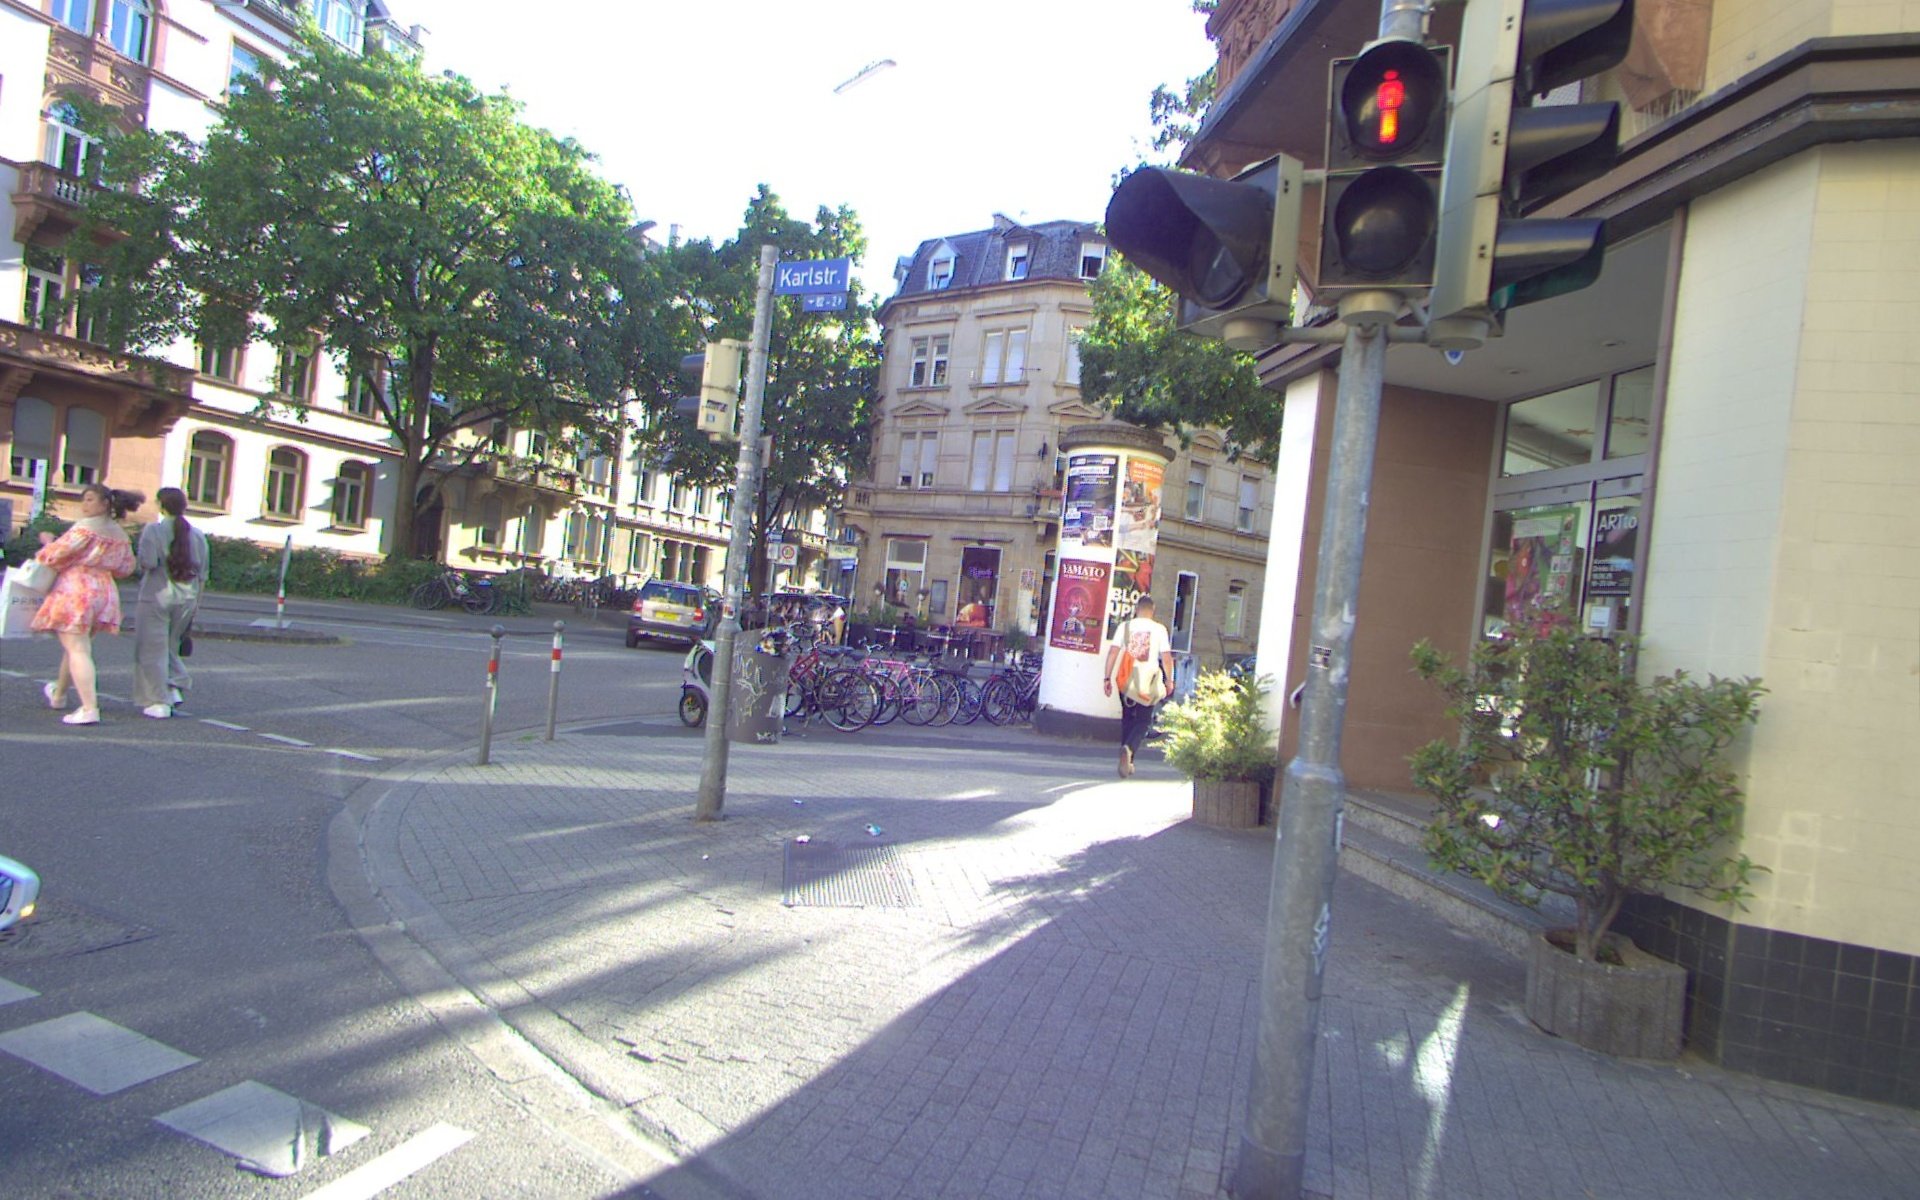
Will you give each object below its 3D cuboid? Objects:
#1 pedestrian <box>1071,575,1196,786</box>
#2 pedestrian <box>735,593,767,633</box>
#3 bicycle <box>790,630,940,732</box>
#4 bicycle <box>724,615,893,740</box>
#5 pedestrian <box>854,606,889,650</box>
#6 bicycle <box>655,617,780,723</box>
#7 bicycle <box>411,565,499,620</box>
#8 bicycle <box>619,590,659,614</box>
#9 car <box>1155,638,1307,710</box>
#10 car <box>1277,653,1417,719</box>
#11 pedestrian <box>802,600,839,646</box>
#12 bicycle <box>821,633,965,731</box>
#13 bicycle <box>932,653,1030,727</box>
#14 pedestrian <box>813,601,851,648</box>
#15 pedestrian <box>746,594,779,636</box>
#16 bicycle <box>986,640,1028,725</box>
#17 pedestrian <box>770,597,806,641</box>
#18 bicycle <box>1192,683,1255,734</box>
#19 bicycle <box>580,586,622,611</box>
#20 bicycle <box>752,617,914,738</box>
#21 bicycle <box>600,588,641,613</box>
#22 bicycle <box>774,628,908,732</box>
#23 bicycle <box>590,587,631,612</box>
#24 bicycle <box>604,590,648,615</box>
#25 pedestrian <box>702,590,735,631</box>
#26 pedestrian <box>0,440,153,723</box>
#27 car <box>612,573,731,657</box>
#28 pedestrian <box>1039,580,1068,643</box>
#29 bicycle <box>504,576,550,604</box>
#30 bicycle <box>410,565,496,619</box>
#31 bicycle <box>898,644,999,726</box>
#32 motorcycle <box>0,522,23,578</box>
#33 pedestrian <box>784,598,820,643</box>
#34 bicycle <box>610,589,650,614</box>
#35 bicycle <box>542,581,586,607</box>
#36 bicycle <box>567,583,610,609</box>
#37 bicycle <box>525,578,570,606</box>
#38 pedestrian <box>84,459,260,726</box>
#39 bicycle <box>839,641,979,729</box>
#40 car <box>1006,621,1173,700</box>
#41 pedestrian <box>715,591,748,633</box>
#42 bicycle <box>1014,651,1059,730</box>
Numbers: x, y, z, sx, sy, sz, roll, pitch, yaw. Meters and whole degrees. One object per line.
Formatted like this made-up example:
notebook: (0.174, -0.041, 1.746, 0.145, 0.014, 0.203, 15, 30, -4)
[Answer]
pedestrian: (1.679, 0.710, 9.619, 0.793, 1.825, 1.089, 7, 4, 21)
pedestrian: (-7.864, 0.489, 37.860, 0.906, 1.448, 0.758, 2, 3, -37)
bicycle: (-1.255, 1.037, 13.148, 1.886, 1.112, 0.450, 5, 0, 24)
bicycle: (-1.774, 0.873, 11.699, 1.886, 1.238, 0.505, 5, 0, 24)
pedestrian: (-3.079, 0.969, 34.826, 0.758, 1.448, 0.905, 2, 3, -39)
bicycle: (-2.719, 0.779, 11.297, 1.045, 1.057, 0.779, 4, -1, 30)
bicycle: (-12.716, -0.181, 25.360, 1.846, 1.176, 0.554, 7, 1, -33)
bicycle: (-14.668, 0.108, 45.955, 1.765, 0.904, 0.493, 6, 0, 23)
car: (7.760, 2.109, 28.781, 3.953, 1.593, 1.791, 7, -1, -28)
car: (12.060, 2.672, 31.317, 3.953, 1.593, 1.791, 7, -1, -28)
pedestrian: (-4.632, 0.755, 33.419, 0.906, 1.448, 0.758, 2, 3, -37)
bicycle: (-0.922, 1.088, 13.646, 1.886, 1.112, 0.450, 5, 0, 24)
bicycle: (0.314, 1.348, 15.204, 1.382, 0.961, 0.449, 4, -1, 32)
pedestrian: (-4.172, 0.787, 32.775, 0.906, 1.448, 0.758, 2, 3, -36)
pedestrian: (-7.243, 0.546, 36.895, 0.906, 1.448, 0.758, 2, 3, -36)
bicycle: (0.734, 1.278, 15.982, 0.442, 1.238, 1.404, 5, -1, -3)
pedestrian: (-6.002, 0.651, 35.075, 0.906, 1.448, 0.758, 2, 3, -37)
bicycle: (4.489, 1.832, 17.130, 1.126, 0.768, 0.394, 1, 3, -37)
bicycle: (-15.564, -0.059, 43.575, 1.765, 0.904, 0.493, 6, 0, 23)
bicycle: (-1.551, 0.911, 12.157, 1.886, 1.238, 0.450, 5, 0, 24)
bicycle: (-15.131, 0.025, 44.856, 1.765, 0.904, 0.493, 6, 0, 23)
bicycle: (-1.508, 0.989, 12.696, 1.582, 1.125, 0.450, 5, 0, 24)
bicycle: (-15.355, -0.019, 44.219, 1.765, 0.904, 0.493, 6, 0, 23)
bicycle: (-14.356, 0.106, 43.286, 0.485, 0.904, 1.792, 6, -1, 35)
pedestrian: (-8.903, 0.388, 37.127, 0.906, 1.448, 0.758, 2, 3, -37)
pedestrian: (-6.476, -0.119, 7.090, 0.749, 1.819, 0.807, 7, -4, 35)
car: (-6.924, 0.371, 24.583, 1.965, 1.637, 3.997, 7, -1, -6)
pedestrian: (3.097, 0.387, 33.360, 0.726, 1.990, 0.730, 6, 0, 2)
bicycle: (-16.995, -0.387, 39.450, 1.765, 0.904, 0.493, 6, 0, 23)
bicycle: (-13.021, -0.200, 25.873, 1.846, 1.176, 0.554, 7, 1, -33)
bicycle: (-0.180, 1.231, 14.756, 1.382, 1.055, 0.449, 4, -1, 32)
motorcycle: (-20.291, -1.125, 20.799, 2.248, 1.033, 0.720, 9, 1, 32)
pedestrian: (-5.370, 0.698, 34.267, 0.906, 1.448, 0.758, 2, 3, -36)
bicycle: (-14.885, 0.066, 45.346, 1.765, 0.904, 0.493, 6, 0, 23)
bicycle: (-16.197, -0.249, 41.177, 1.765, 0.904, 0.493, 6, 0, 23)
bicycle: (-15.757, -0.157, 42.627, 1.765, 0.904, 0.493, 6, 0, 23)
bicycle: (-16.571, -0.314, 40.374, 1.765, 0.904, 0.493, 6, 0, 23)
pedestrian: (-6.140, -0.053, 7.847, 0.660, 1.930, 0.691, 10, -1, 39)
bicycle: (-0.727, 1.173, 14.072, 1.886, 1.012, 0.450, 5, 0, 24)
car: (3.408, 1.587, 26.382, 3.953, 1.593, 1.791, 7, -1, -28)
pedestrian: (-8.255, 0.437, 36.331, 0.906, 1.448, 0.758, 2, 3, -36)
bicycle: (1.185, 1.391, 15.740, 0.442, 1.099, 1.404, 5, -1, -3)
